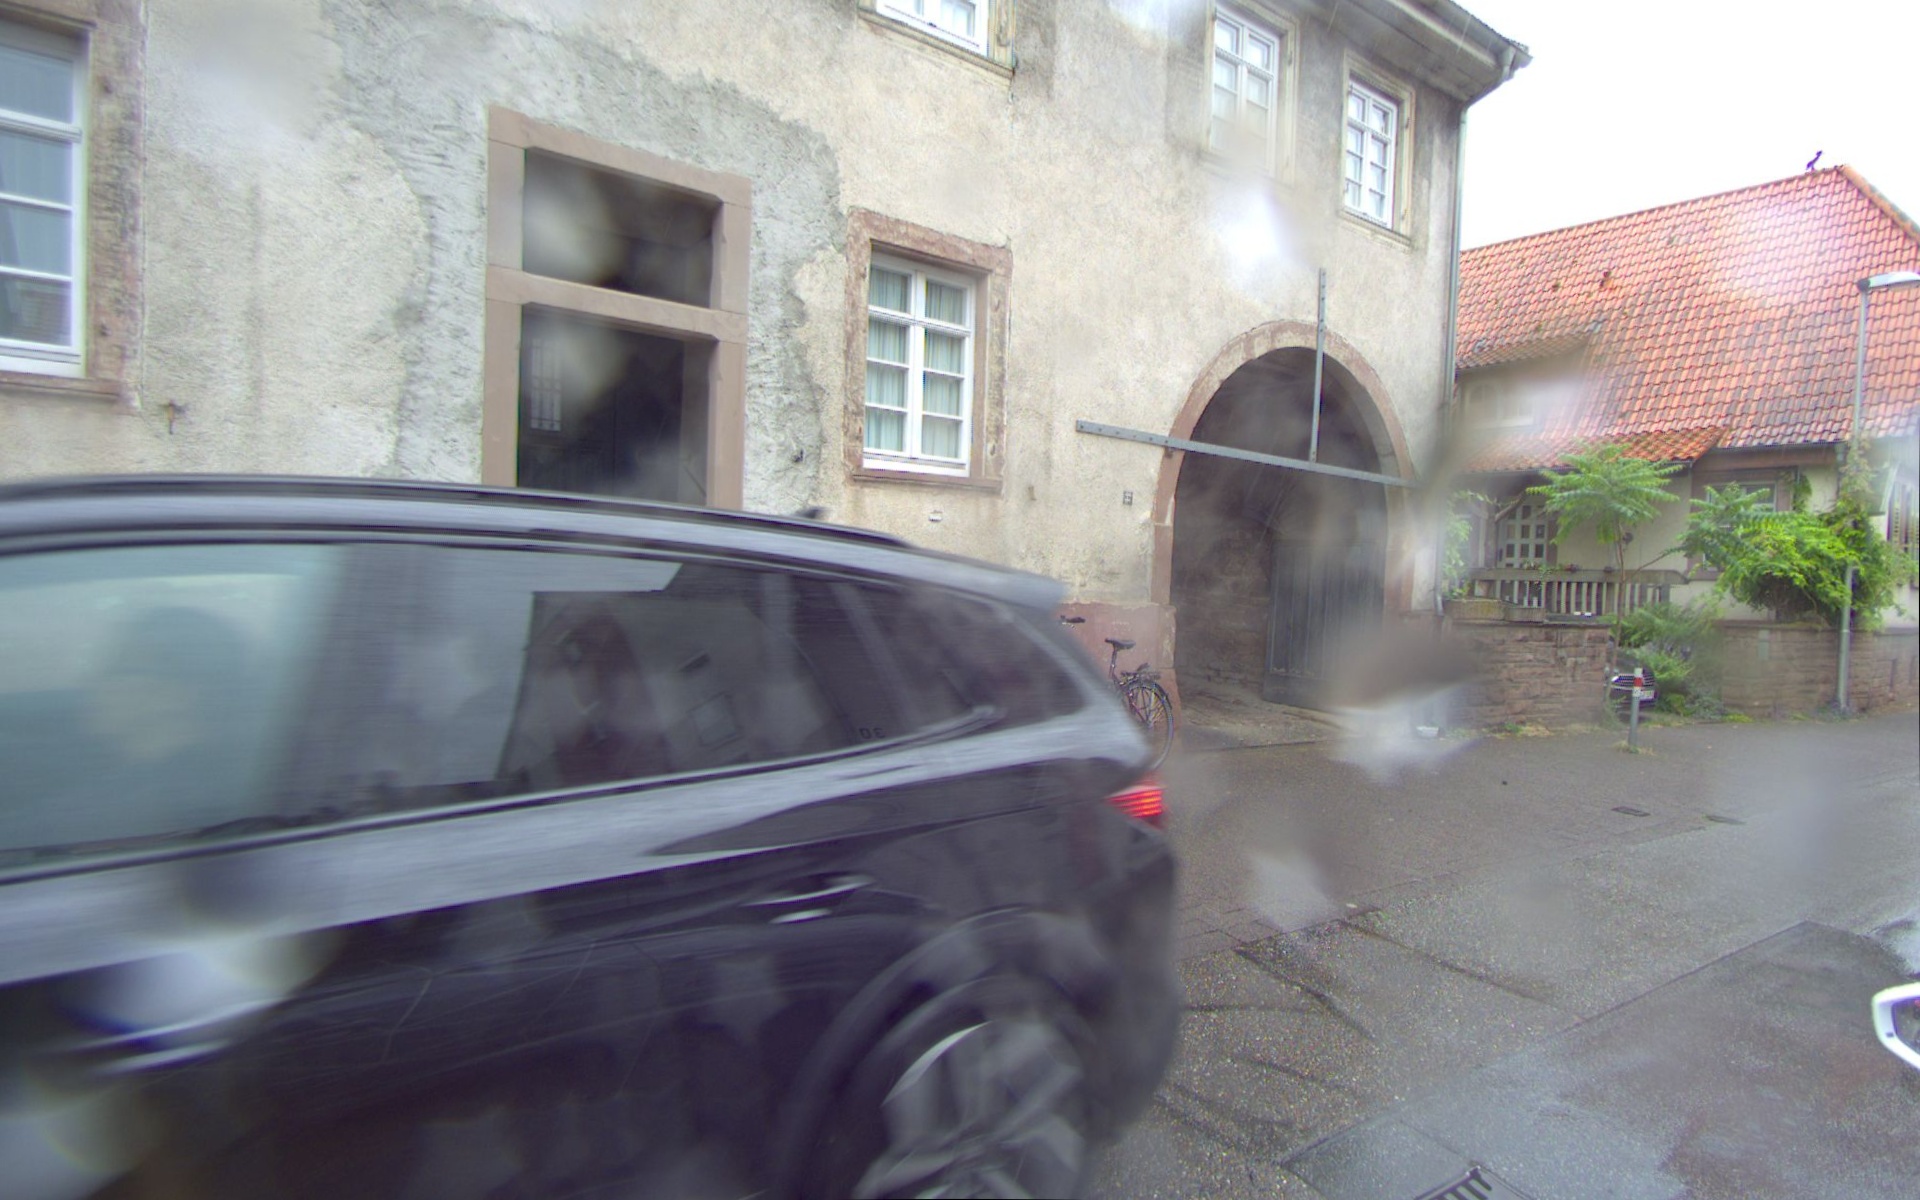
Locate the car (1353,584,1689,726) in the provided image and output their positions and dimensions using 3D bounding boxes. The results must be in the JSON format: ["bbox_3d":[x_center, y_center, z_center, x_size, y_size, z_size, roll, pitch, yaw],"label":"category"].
[{"bbox_3d":[8.114,0.705,14.940,1.715,1.444,3.969,2,5,-29],"label":"car"}]

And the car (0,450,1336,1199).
[{"bbox_3d":[-1.379,0.570,1.931,4.198,1.576,1.820,2,3,-35],"label":"car"}]

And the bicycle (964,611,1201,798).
[{"bbox_3d":[0.931,0.698,7.309,1.857,1.194,0.478,1,4,-38],"label":"bicycle"}]

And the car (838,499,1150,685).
[{"bbox_3d":[0.275,-0.206,13.493,1.868,1.958,4.196,4,4,-36],"label":"car"}]
